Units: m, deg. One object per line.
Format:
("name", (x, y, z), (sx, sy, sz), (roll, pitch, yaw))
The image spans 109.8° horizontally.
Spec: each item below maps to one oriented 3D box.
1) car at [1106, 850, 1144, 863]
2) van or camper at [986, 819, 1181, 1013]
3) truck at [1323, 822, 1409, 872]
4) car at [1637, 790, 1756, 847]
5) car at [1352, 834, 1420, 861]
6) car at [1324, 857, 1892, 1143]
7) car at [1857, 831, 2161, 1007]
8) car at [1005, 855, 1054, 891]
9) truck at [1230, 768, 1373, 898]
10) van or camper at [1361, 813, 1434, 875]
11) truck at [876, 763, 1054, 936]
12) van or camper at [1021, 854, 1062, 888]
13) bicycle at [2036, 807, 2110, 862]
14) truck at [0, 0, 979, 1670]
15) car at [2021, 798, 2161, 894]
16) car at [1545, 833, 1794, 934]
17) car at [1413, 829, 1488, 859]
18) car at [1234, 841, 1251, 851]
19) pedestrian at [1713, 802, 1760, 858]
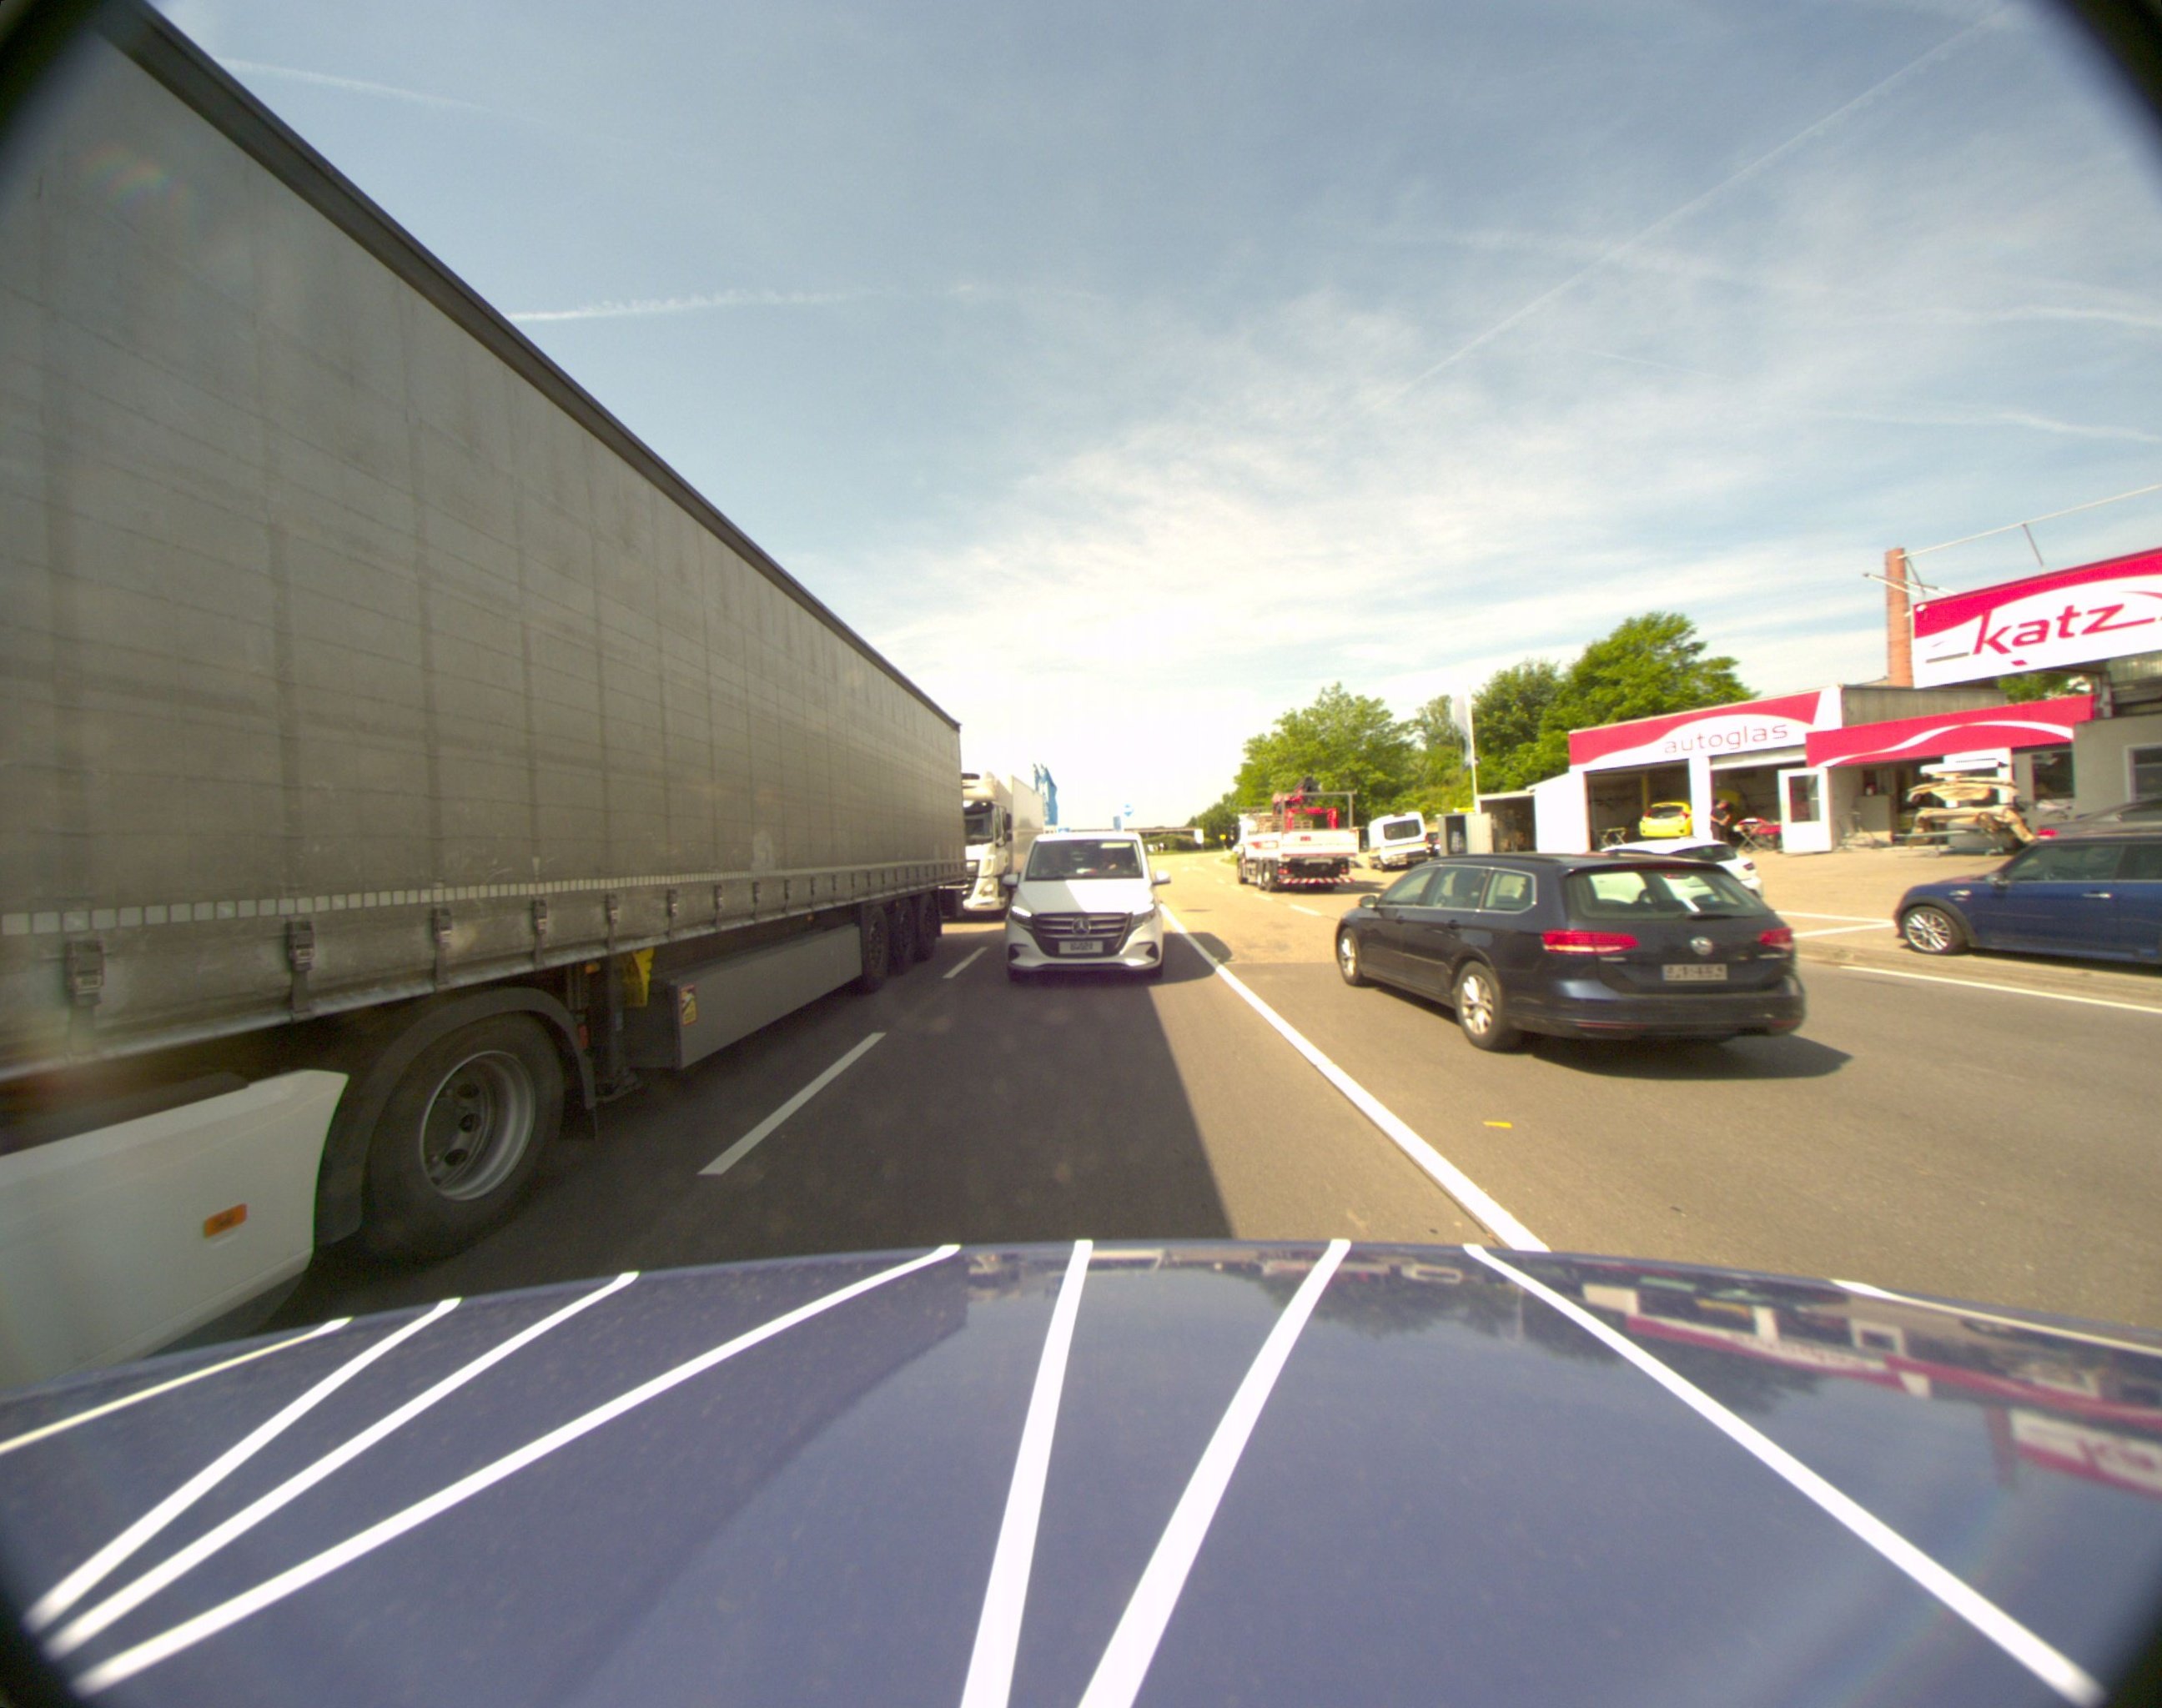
("car", (5.460, 0.306, 94.656), (4.385, 1.551, 1.811), (-2, 0, -4))
("van or camper", (0.131, 0.644, 10.627), (1.998, 2.002, 5.291), (-1, 0, 2))
("truck", (16.259, -0.427, 44.046), (2.335, 2.283, 8.805), (-7, 0, 6))
("car", (22.676, -1.302, 27.992), (3.674, 1.715, 1.736), (-6, 2, -22))
("car", (19.803, -0.437, 49.420), (3.671, 1.502, 1.716), (-3, 1, -8))
("car", (3.743, 0.849, 6.565), (1.811, 1.551, 4.386), (-2, 0, 0))
("car", (11.035, 0.593, 8.011), (1.783, 1.485, 3.781), (-7, 0, 2))
("car", (-2.309, 0.826, 35.088), (1.739, 1.420, 4.225), (-3, 1, 2))
("truck", (8.162, -0.691, 29.884), (2.963, 4.184, 10.648), (-1, 0, 3))
("van or camper", (14.944, -0.510, 36.230), (2.157, 2.484, 5.955), (-6, 0, 15))
("truck", (-2.828, -0.136, 22.692), (2.886, 3.789, 11.143), (-3, 0, 3))
("van or camper", (-2.269, 0.949, 44.820), (1.750, 1.777, 5.133), (-3, 1, 3))
("bicycle", (21.689, -0.430, 16.612), (2.000, 0.966, 0.414), (-8, 3, -21))
("truck", (-3.761, -0.300, 6.049), (2.897, 4.241, 16.710), (-3, 0, 2))
("car", (18.704, -0.225, 12.018), (1.861, 1.496, 4.390), (-6, -1, -22))
("car", (11.163, 0.481, 14.834), (1.783, 1.608, 4.000), (-3, 1, 2))
("car", (20.920, -0.560, 43.012), (3.675, 1.521, 1.736), (-3, 1, -22))
("car", (26.633, -1.344, 125.289), (1.937, 1.665, 4.006), (-1, 1, 23))
("pedestrian", (21.151, -0.772, 24.531), (0.724, 1.752, 0.895), (-3, 1, 3))
